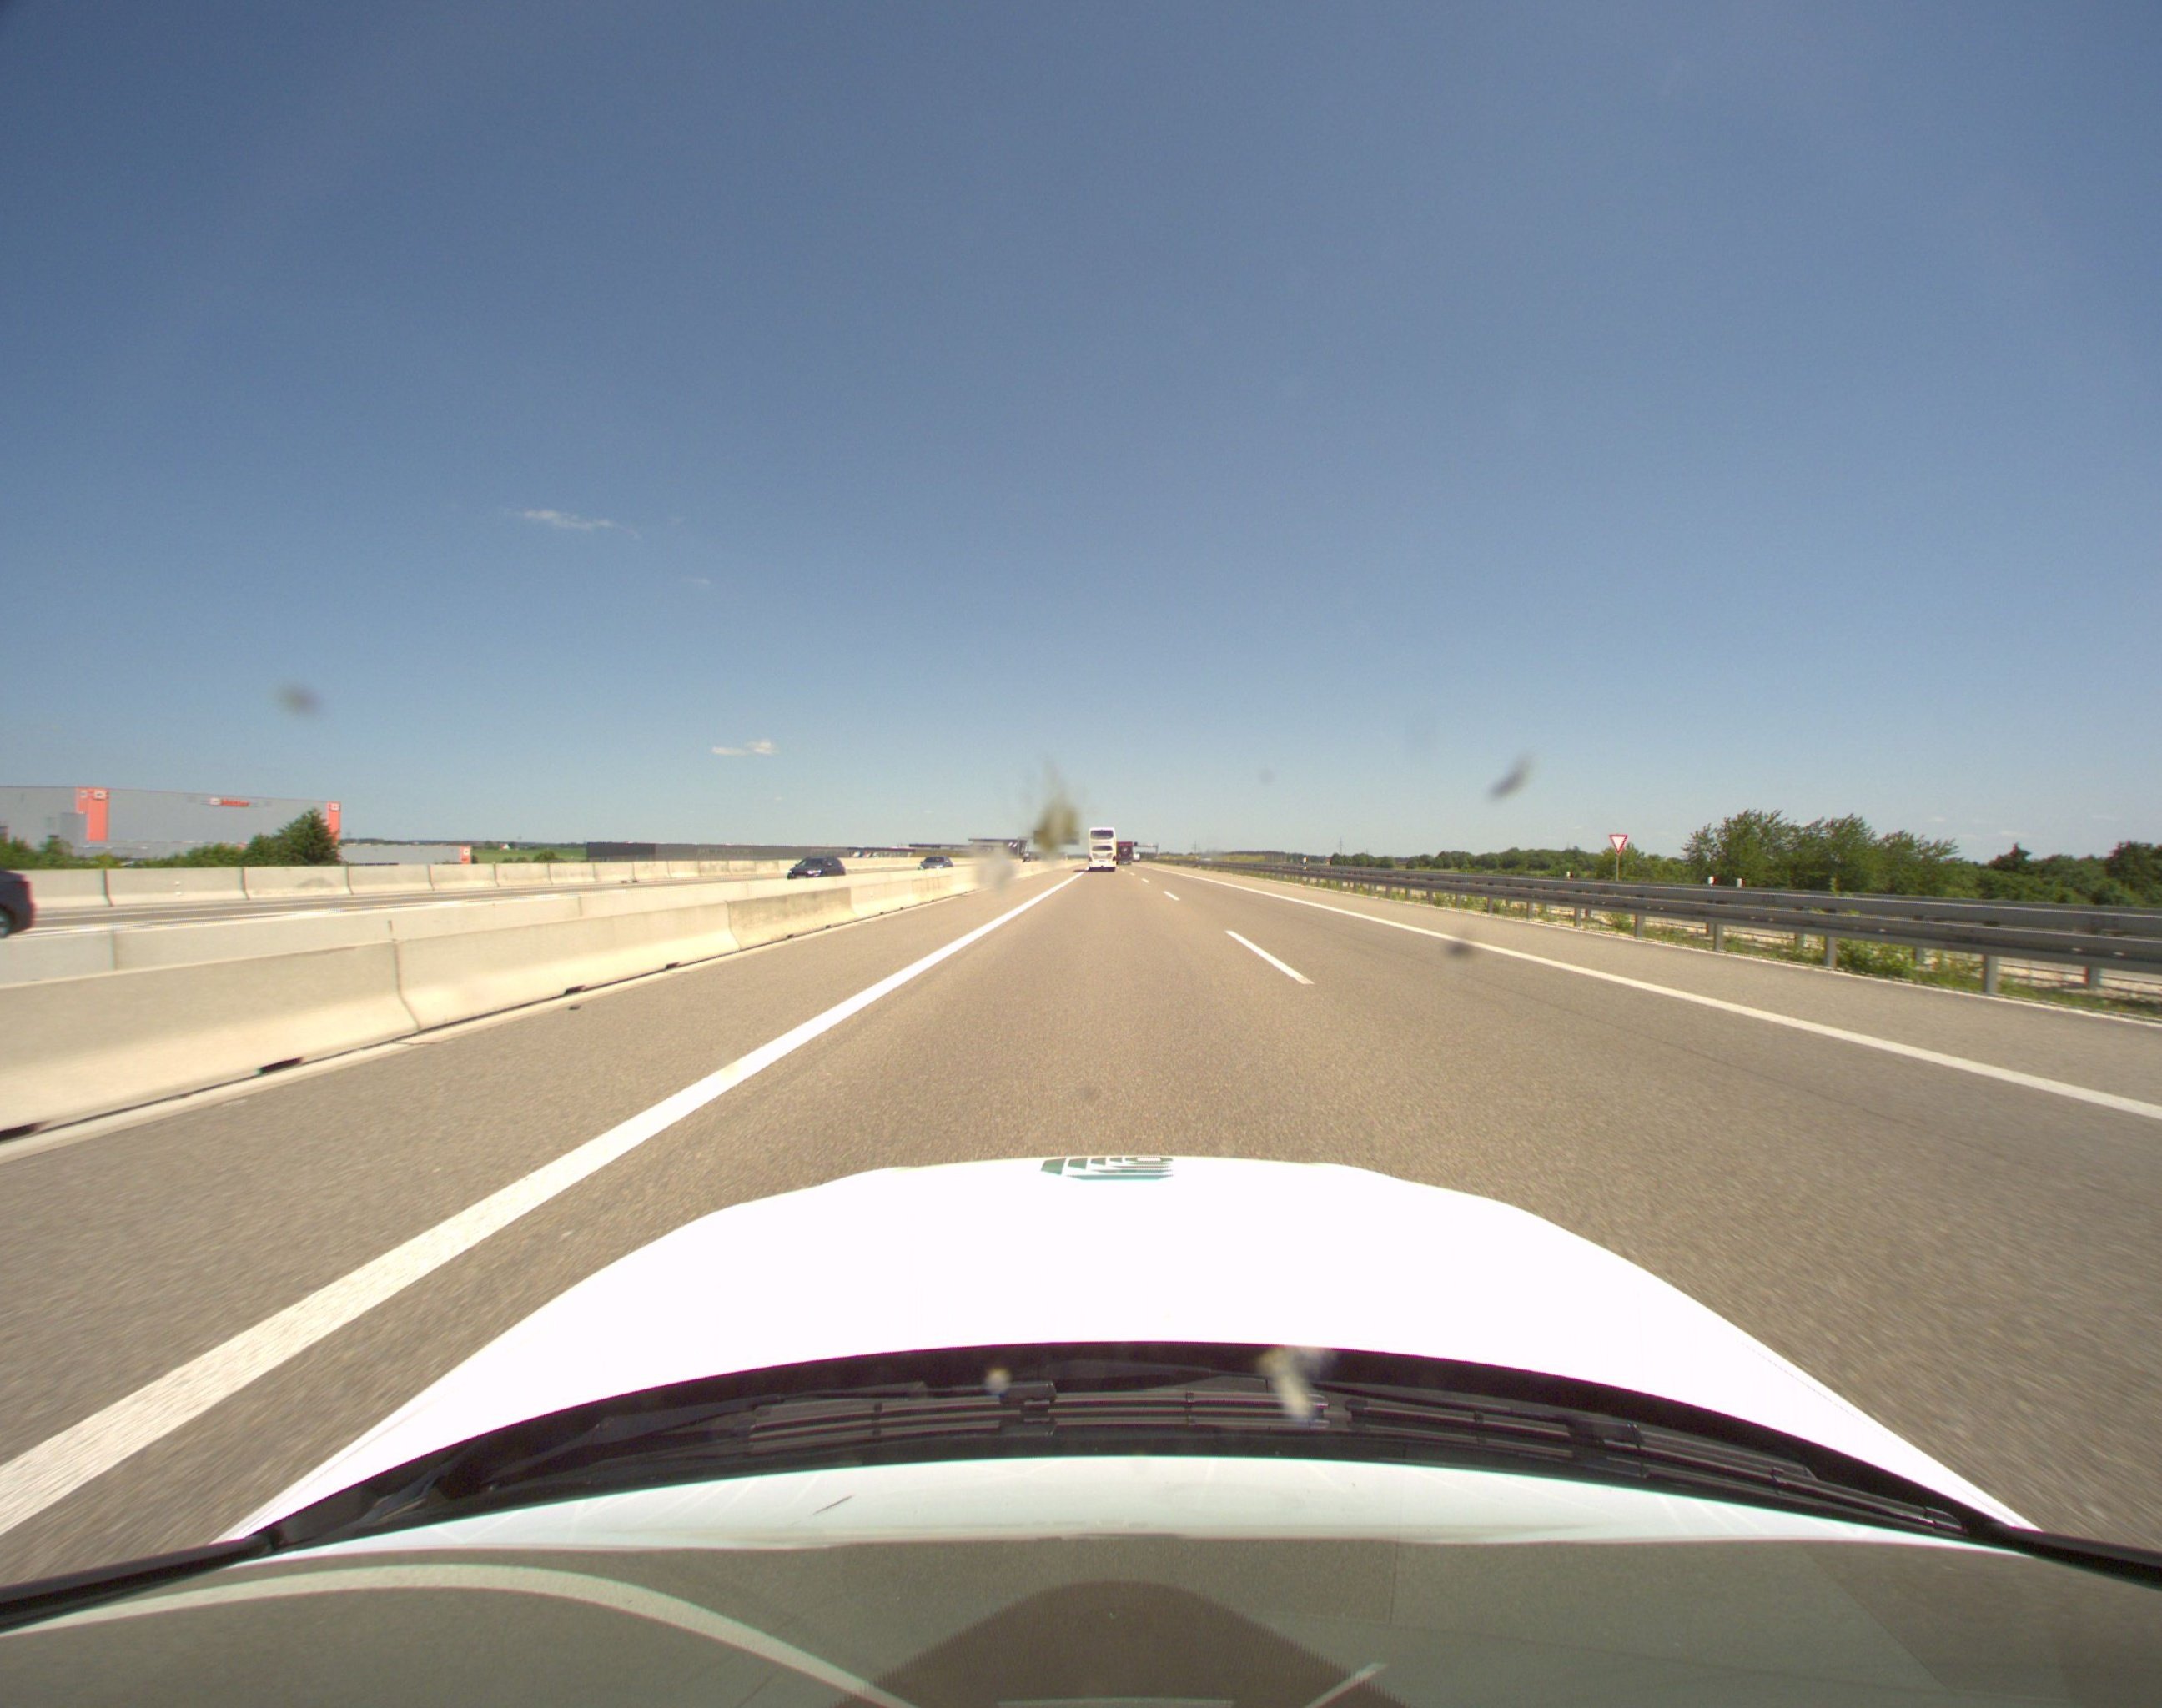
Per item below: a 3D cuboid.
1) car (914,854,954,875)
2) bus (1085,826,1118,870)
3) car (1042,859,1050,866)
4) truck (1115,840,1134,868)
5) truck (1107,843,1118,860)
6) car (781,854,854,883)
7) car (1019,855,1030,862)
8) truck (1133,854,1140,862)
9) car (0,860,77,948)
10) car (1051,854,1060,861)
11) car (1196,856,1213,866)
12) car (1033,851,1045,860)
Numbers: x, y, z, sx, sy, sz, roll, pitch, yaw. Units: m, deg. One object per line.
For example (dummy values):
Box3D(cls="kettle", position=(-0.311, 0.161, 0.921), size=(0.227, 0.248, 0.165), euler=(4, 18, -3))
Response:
Box3D(cls="car", position=(-10.364, 0.708, 57.743), size=(1.835, 1.420, 4.528), euler=(0, 0, 2))
Box3D(cls="bus", position=(1.940, -0.542, 78.122), size=(2.970, 3.975, 9.105), euler=(0, 0, 1))
Box3D(cls="car", position=(-9.738, 2.312, 228.108), size=(1.877, 2.018, 4.738), euler=(0, 0, 3))
Box3D(cls="truck", position=(7.870, 0.098, 146.033), size=(3.365, 4.464, 13.577), euler=(0, -2, 4))
Box3D(cls="truck", position=(6.914, -0.572, 178.860), size=(2.429, 3.789, 6.494), euler=(0, 0, 1))
Box3D(cls="car", position=(-13.657, 0.723, 42.572), size=(1.904, 1.420, 4.914), euler=(0, 0, 4))
Box3D(cls="car", position=(-12.543, 1.005, 180.691), size=(1.903, 1.459, 4.285), euler=(0, 0, 1))
Box3D(cls="truck", position=(17.703, 1.331, 261.731), size=(1.986, 2.343, 4.952), euler=(0, 0, 2))
Box3D(cls="car", position=(-18.613, 0.826, 11.995), size=(1.903, 1.420, 4.552), euler=(0, 0, 2))
Box3D(cls="car", position=(-6.671, 0.925, 211.982), size=(1.985, 1.669, 4.653), euler=(0, 0, 3))
Box3D(cls="car", position=(19.971, 1.083, 131.726), size=(1.886, 1.529, 4.259), euler=(0, 0, -2))
Box3D(cls="car", position=(-8.512, 0.332, 164.578), size=(1.877, 1.686, 5.019), euler=(0, 0, 3))
